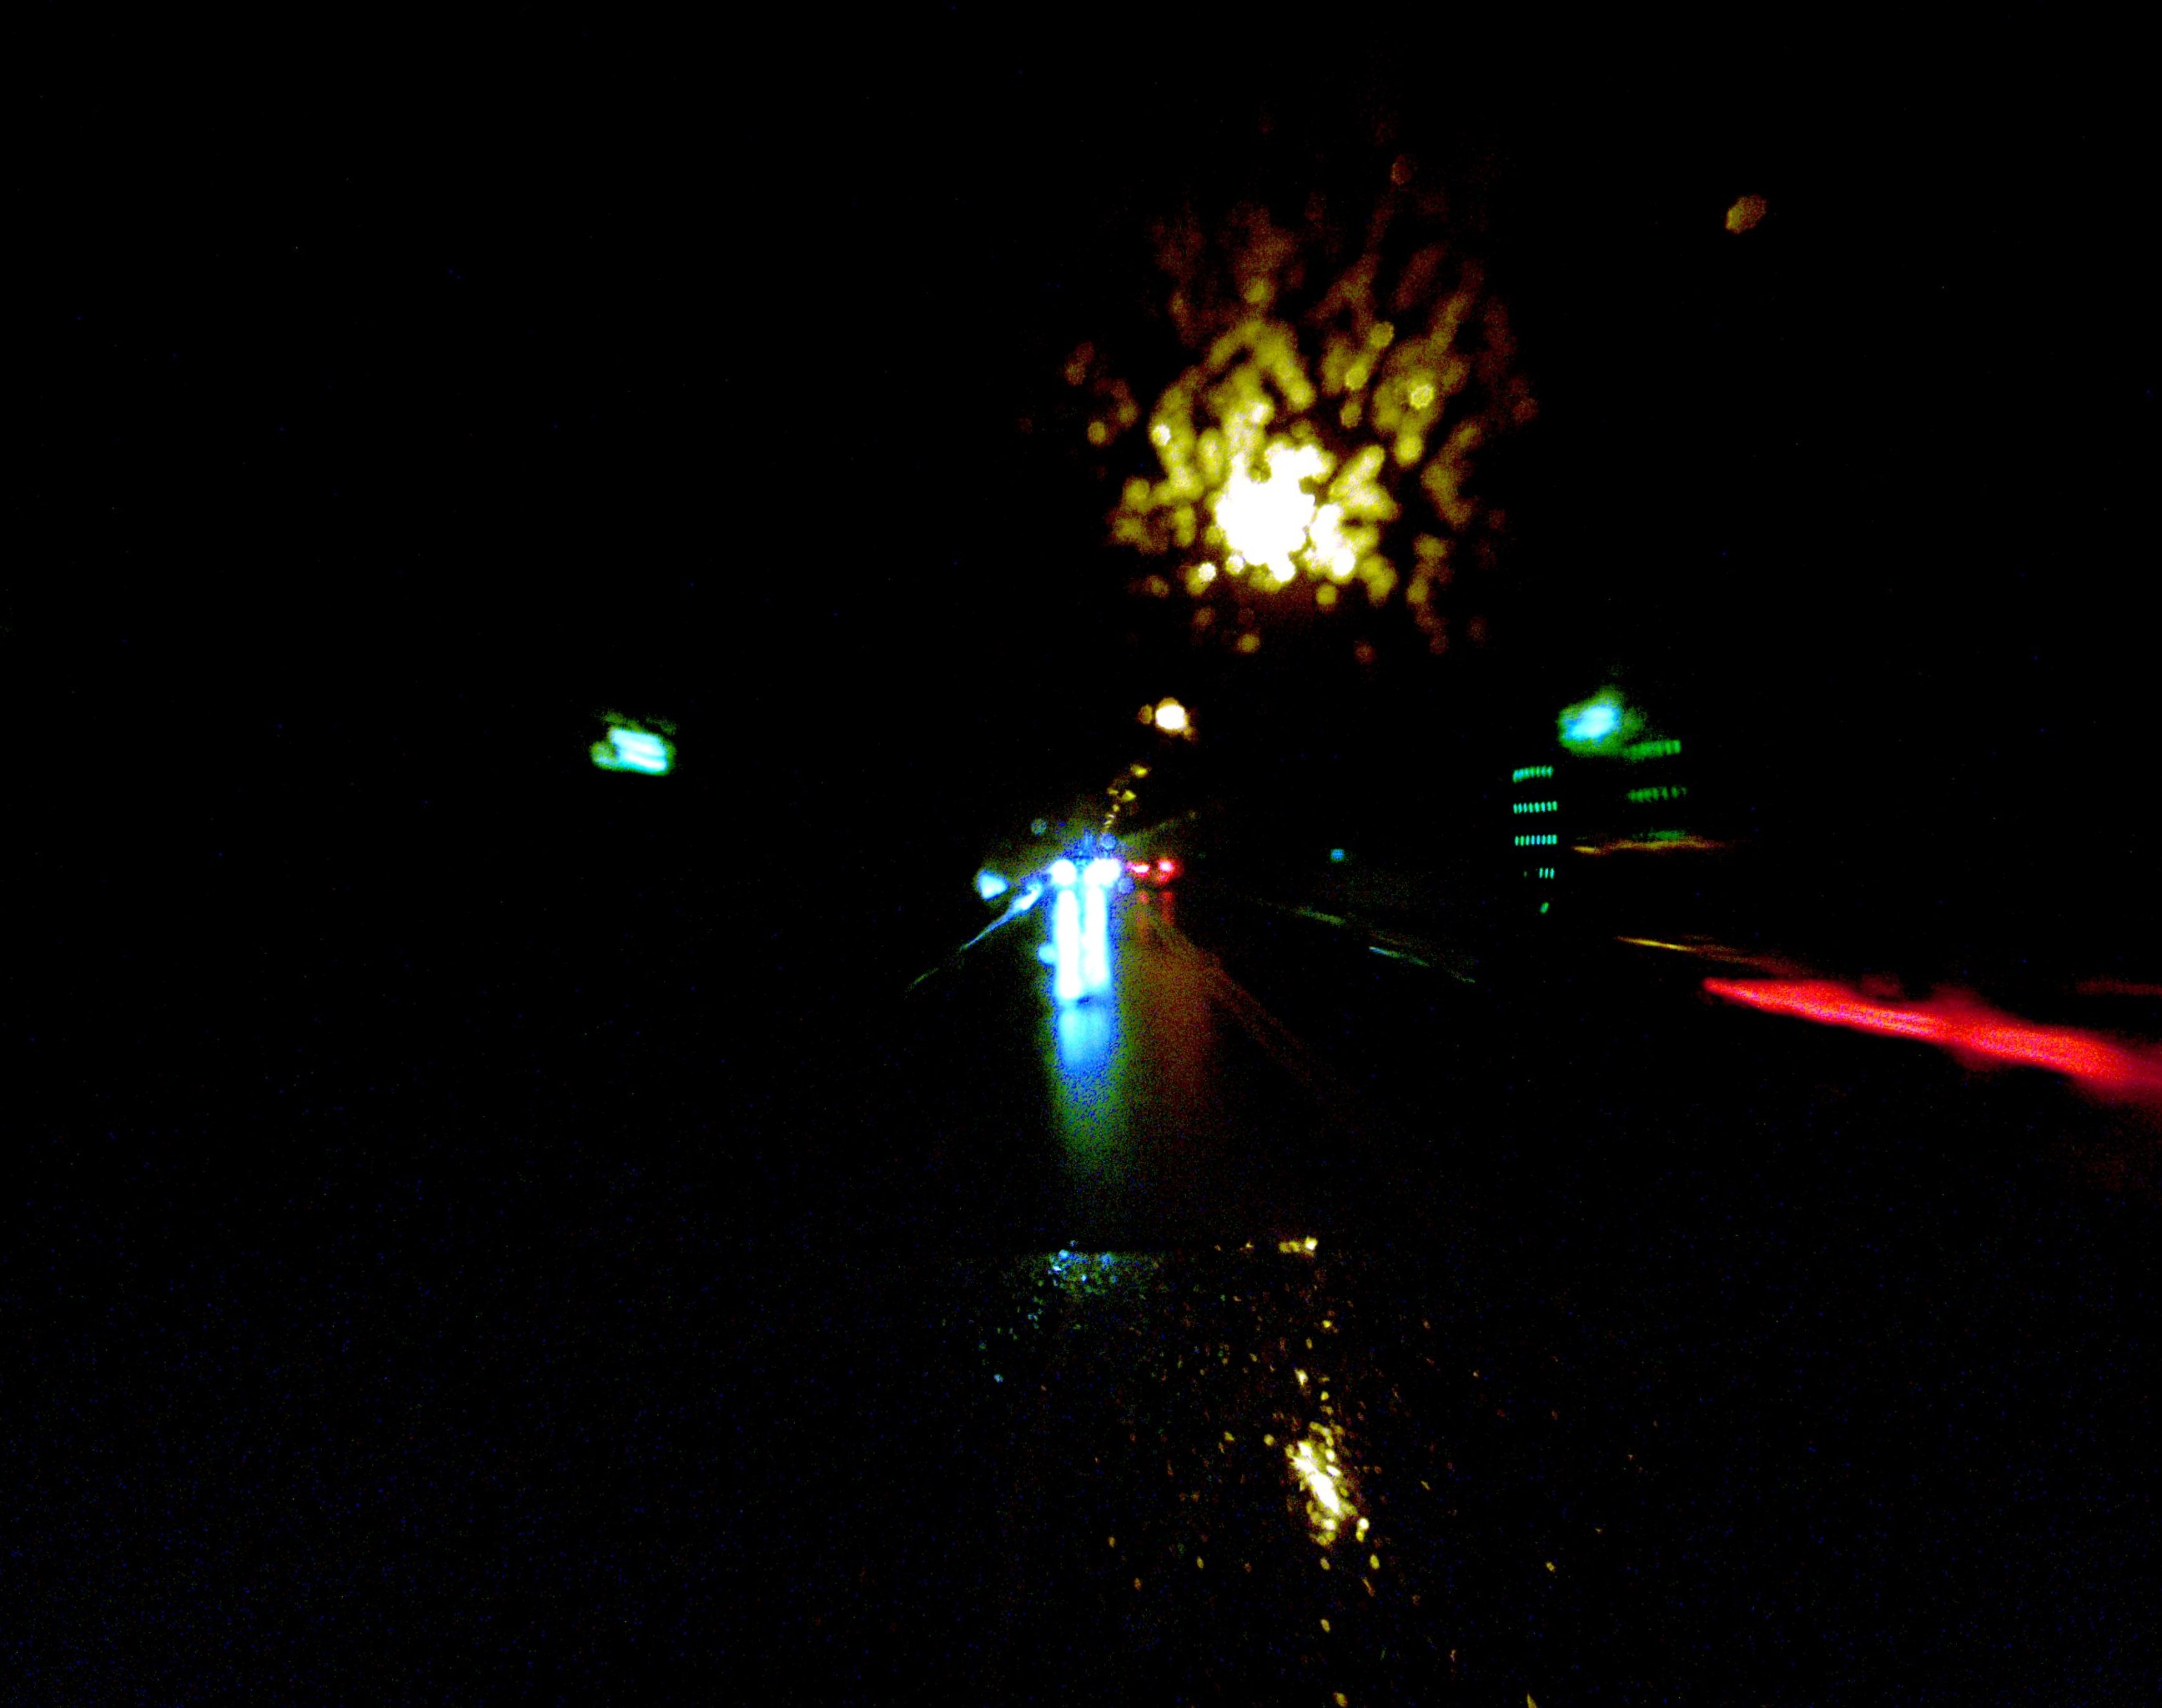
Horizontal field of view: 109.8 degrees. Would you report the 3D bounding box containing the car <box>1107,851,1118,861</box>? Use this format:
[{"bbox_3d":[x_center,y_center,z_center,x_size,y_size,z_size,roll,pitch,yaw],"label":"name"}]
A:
[{"bbox_3d":[5.361,0.324,129.026,1.918,1.718,4.001,0,0,4],"label":"car"}]

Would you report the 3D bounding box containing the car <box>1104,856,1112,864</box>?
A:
[{"bbox_3d":[6.524,1.533,184.247,1.785,1.917,5.138,0,0,1],"label":"car"}]

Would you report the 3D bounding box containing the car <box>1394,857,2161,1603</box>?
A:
[{"bbox_3d":[3.031,0.798,3.558,1.524,1.540,4.055,0,-1,1],"label":"car"}]

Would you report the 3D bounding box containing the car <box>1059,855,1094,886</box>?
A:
[{"bbox_3d":[-0.190,0.779,38.097,1.627,1.487,3.585,0,0,1],"label":"car"}]

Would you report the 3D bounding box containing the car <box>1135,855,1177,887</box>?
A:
[{"bbox_3d":[3.730,0.821,38.549,1.753,1.471,4.476,0,0,1],"label":"car"}]

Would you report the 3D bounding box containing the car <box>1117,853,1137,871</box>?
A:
[{"bbox_3d":[4.455,0.751,74.051,1.701,1.666,4.127,0,0,1],"label":"car"}]
